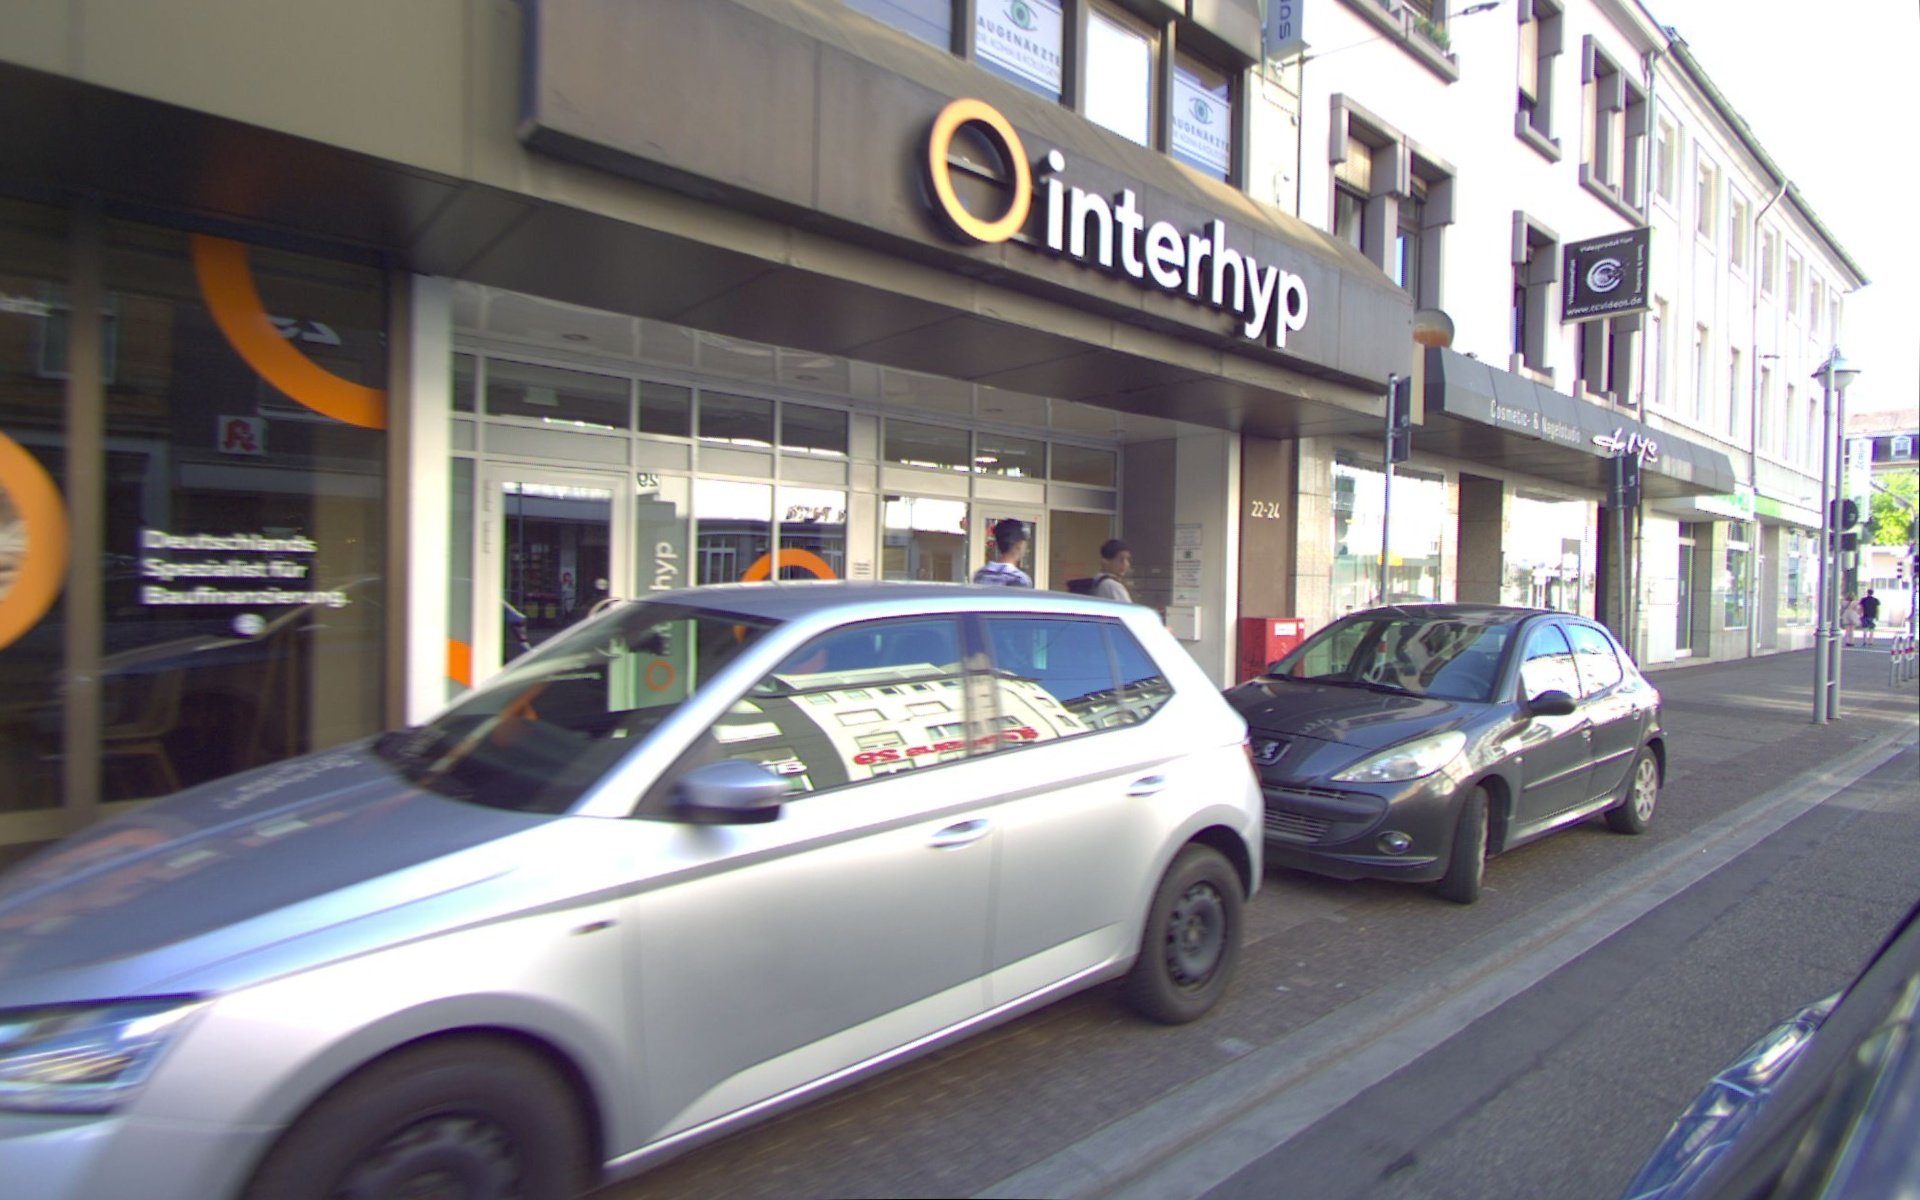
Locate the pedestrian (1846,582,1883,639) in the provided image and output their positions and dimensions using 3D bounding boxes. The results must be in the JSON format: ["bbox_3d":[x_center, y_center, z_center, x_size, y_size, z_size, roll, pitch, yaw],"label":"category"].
[{"bbox_3d":[29.036,0.324,32.489,0.562,1.781,0.651,0,1,-16],"label":"pedestrian"}]

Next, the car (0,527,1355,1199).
[{"bbox_3d":[-0.647,0.607,3.217,4.220,1.480,1.749,0,2,-41],"label":"car"}]

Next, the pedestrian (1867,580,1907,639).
[{"bbox_3d":[29.363,0.296,32.073,0.628,1.865,0.683,1,0,-16],"label":"pedestrian"}]

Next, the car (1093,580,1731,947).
[{"bbox_3d":[2.984,0.671,6.268,4.224,1.480,1.853,0,2,-39],"label":"car"}]

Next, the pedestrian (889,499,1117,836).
[{"bbox_3d":[0.260,0.352,6.264,0.981,1.865,0.925,1,3,-39],"label":"pedestrian"}]

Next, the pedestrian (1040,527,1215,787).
[{"bbox_3d":[1.246,0.380,7.514,1.013,1.774,0.781,1,1,-39],"label":"pedestrian"}]
